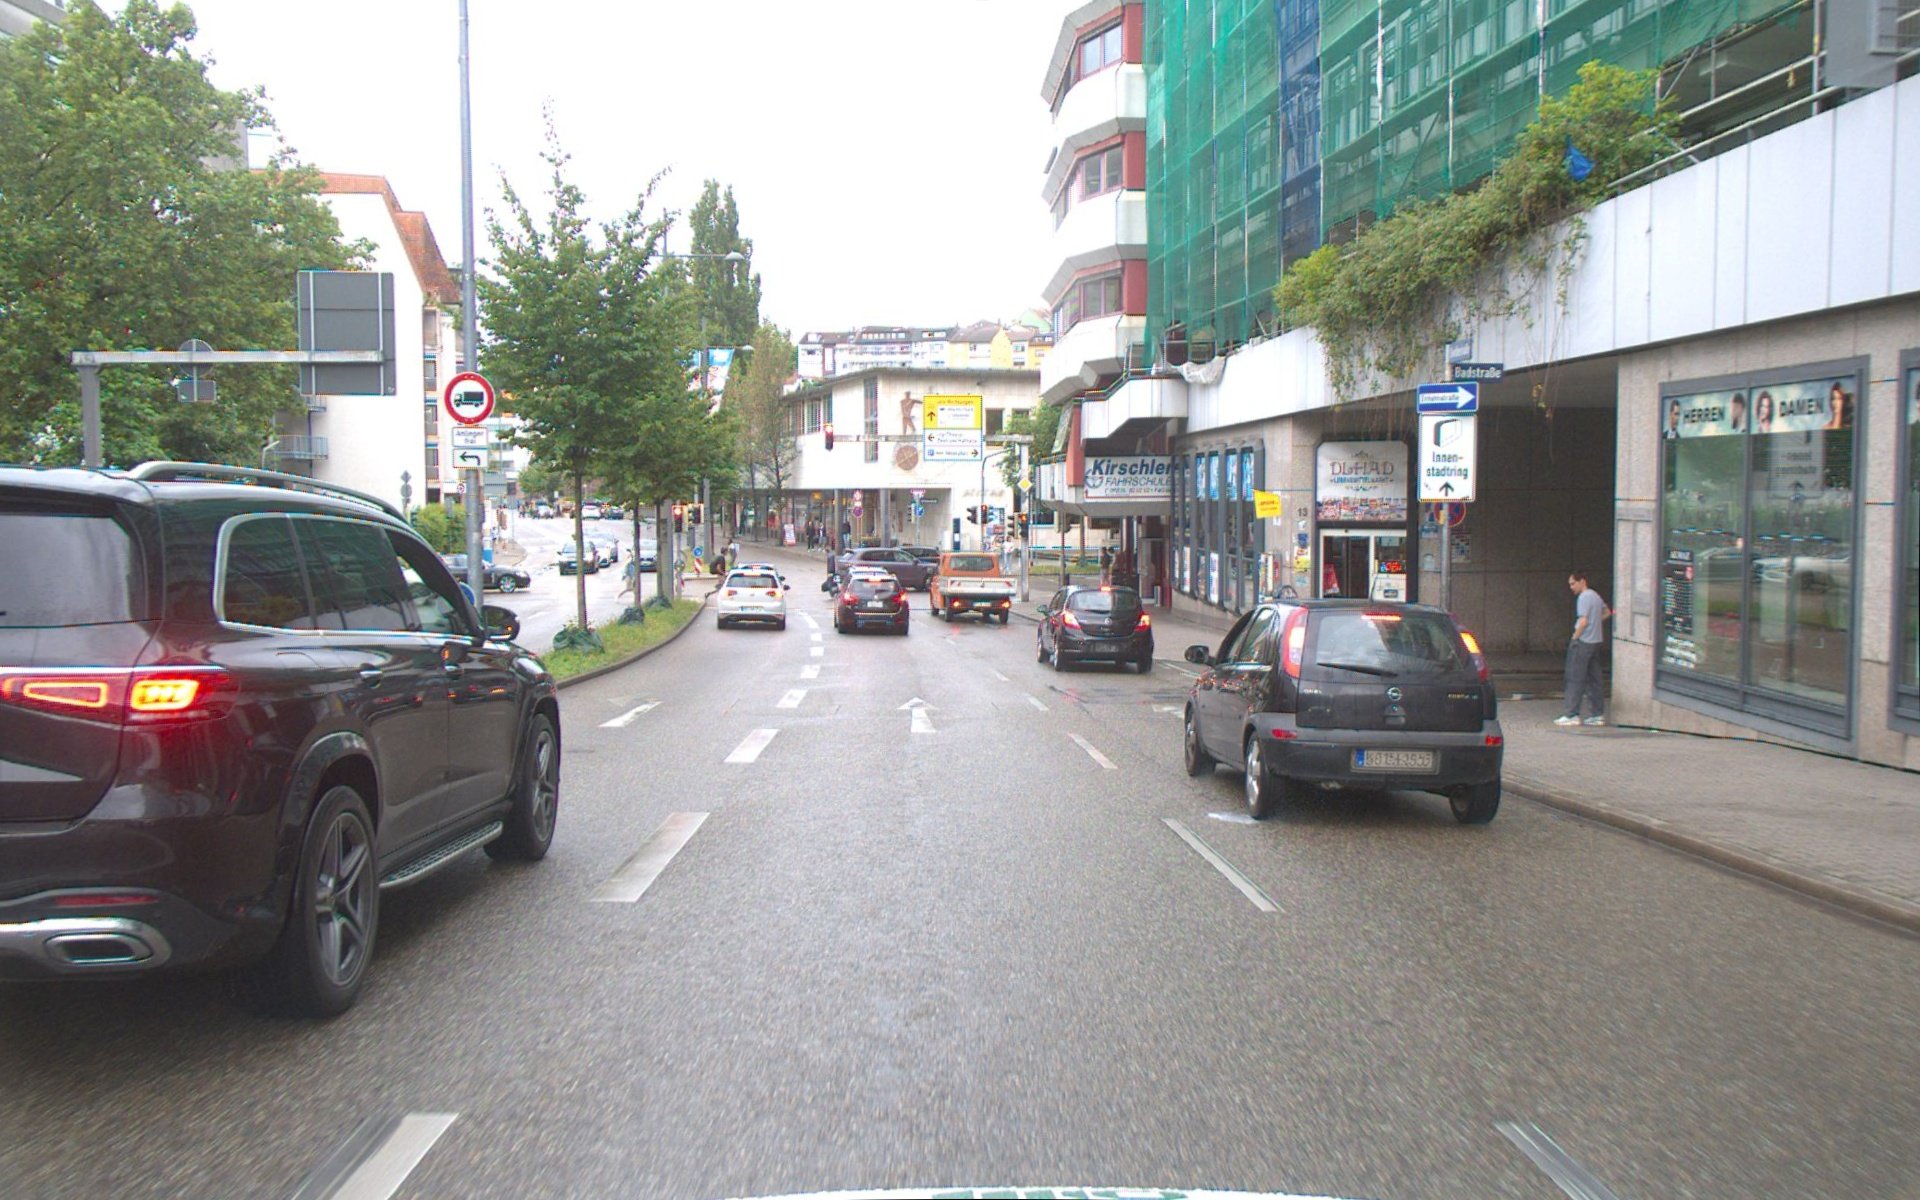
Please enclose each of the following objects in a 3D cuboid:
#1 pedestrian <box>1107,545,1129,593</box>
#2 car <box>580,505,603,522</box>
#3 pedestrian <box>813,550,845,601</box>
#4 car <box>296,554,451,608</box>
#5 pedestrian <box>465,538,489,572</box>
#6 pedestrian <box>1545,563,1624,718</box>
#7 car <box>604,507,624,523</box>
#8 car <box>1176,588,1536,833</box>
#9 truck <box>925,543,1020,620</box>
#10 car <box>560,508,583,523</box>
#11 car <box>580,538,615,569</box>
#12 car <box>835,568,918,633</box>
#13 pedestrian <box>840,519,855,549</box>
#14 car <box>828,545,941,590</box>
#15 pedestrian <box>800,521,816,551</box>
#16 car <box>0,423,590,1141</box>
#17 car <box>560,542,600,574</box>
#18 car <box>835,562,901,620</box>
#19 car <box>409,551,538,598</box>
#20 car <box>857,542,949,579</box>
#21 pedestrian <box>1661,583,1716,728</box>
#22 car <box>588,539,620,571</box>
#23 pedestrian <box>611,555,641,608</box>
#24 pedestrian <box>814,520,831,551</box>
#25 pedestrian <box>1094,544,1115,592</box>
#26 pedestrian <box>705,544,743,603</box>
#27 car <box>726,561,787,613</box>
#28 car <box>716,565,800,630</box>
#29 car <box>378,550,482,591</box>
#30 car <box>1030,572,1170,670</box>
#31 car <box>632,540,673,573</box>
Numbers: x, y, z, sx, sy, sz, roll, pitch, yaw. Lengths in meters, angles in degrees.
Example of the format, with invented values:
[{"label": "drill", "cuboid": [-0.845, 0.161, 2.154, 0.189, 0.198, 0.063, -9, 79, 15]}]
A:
[{"label": "pedestrian", "cuboid": [5.822, -1.140, 60.829, 0.567, 1.729, 0.647, -2, 1, -18]}, {"label": "car", "cuboid": [-38.542, -9.011, 172.958, 1.964, 1.623, 3.978, -1, 1, -19]}, {"label": "pedestrian", "cuboid": [-4.578, -0.880, 58.023, 0.989, 1.752, 0.838, -2, 1, 1]}, {"label": "car", "cuboid": [-20.563, -0.677, 58.228, 4.989, 1.789, 1.992, 1, 1, -16]}, {"label": "pedestrian", "cuboid": [-23.918, -2.216, 81.894, 0.919, 1.636, 0.554, -3, 1, -45]}, {"label": "pedestrian", "cuboid": [6.946, 0.441, 18.396, 0.631, 1.678, 0.560, -2, 0, 38]}, {"label": "car", "cuboid": [-37.237, -9.140, 178.007, 1.803, 1.616, 3.855, -1, 1, -18]}, {"label": "car", "cuboid": [2.664, 0.660, 11.976, 1.682, 1.445, 3.770, 0, 1, 0]}, {"label": "truck", "cuboid": [0.296, -0.591, 48.734, 2.142, 2.118, 5.596, 0, 1, -7]}, {"label": "car", "cuboid": [-43.012, -9.306, 182.895, 1.727, 1.581, 3.539, -1, 1, -26]}, {"label": "car", "cuboid": [-19.021, -2.445, 86.806, 1.747, 1.576, 3.988, -1, 1, -12]}, {"label": "car", "cuboid": [-2.168, -0.027, 41.936, 1.777, 1.466, 3.994, 1, 2, -8]}, {"label": "pedestrian", "cuboid": [-7.102, -4.149, 104.016, 0.691, 1.834, 0.934, -2, 1, -18]}, {"label": "car", "cuboid": [-2.910, -1.237, 63.612, 4.080, 1.686, 1.834, -1, 1, -16]}, {"label": "pedestrian", "cuboid": [-9.506, -3.998, 103.668, 0.786, 1.834, 0.913, -2, 1, -18]}, {"label": "car", "cuboid": [-2.964, 0.402, 6.634, 2.046, 1.848, 4.790, 2, 1, -3]}, {"label": "car", "cuboid": [-18.179, -2.027, 79.208, 1.676, 1.476, 3.851, -1, 1, -11]}, {"label": "car", "cuboid": [-2.760, -0.289, 48.921, 1.727, 1.569, 3.995, 0, 2, -6]}, {"label": "car", "cuboid": [-18.397, -0.962, 62.617, 4.610, 1.672, 1.778, 1, 1, -19]}, {"label": "car", "cuboid": [-2.460, -1.719, 71.486, 3.907, 1.554, 1.846, 0, 1, -3]}, {"label": "pedestrian", "cuboid": [9.180, 0.679, 20.837, 0.504, 1.765, 0.636, 1, 2, 36]}, {"label": "car", "cuboid": [-20.110, -2.526, 93.452, 1.675, 1.750, 3.988, -1, 1, -12]}, {"label": "pedestrian", "cuboid": [-11.271, -0.643, 55.854, 0.818, 1.752, 0.819, -2, 1, 0]}, {"label": "pedestrian", "cuboid": [-8.590, -4.022, 103.265, 0.833, 1.834, 1.051, -2, 1, -18]}, {"label": "pedestrian", "cuboid": [5.283, -1.155, 60.443, 0.566, 1.729, 0.648, -2, 1, -14]}, {"label": "pedestrian", "cuboid": [-7.777, -0.884, 54.517, 1.041, 1.914, 0.839, -1, 1, 3]}, {"label": "car", "cuboid": [-6.208, -0.440, 50.589, 1.760, 1.493, 3.995, 0, 2, -7]}, {"label": "car", "cuboid": [-5.163, -0.107, 42.683, 1.911, 1.601, 3.998, 0, 1, -4]}, {"label": "car", "cuboid": [-21.538, -1.214, 67.403, 3.931, 1.645, 1.768, -1, 1, -16]}, {"label": "car", "cuboid": [2.422, 0.317, 29.562, 1.911, 1.601, 3.997, 0, 1, -4]}, {"label": "car", "cuboid": [-14.935, -2.120, 80.413, 1.786, 1.576, 3.993, 0, 1, -8]}]
